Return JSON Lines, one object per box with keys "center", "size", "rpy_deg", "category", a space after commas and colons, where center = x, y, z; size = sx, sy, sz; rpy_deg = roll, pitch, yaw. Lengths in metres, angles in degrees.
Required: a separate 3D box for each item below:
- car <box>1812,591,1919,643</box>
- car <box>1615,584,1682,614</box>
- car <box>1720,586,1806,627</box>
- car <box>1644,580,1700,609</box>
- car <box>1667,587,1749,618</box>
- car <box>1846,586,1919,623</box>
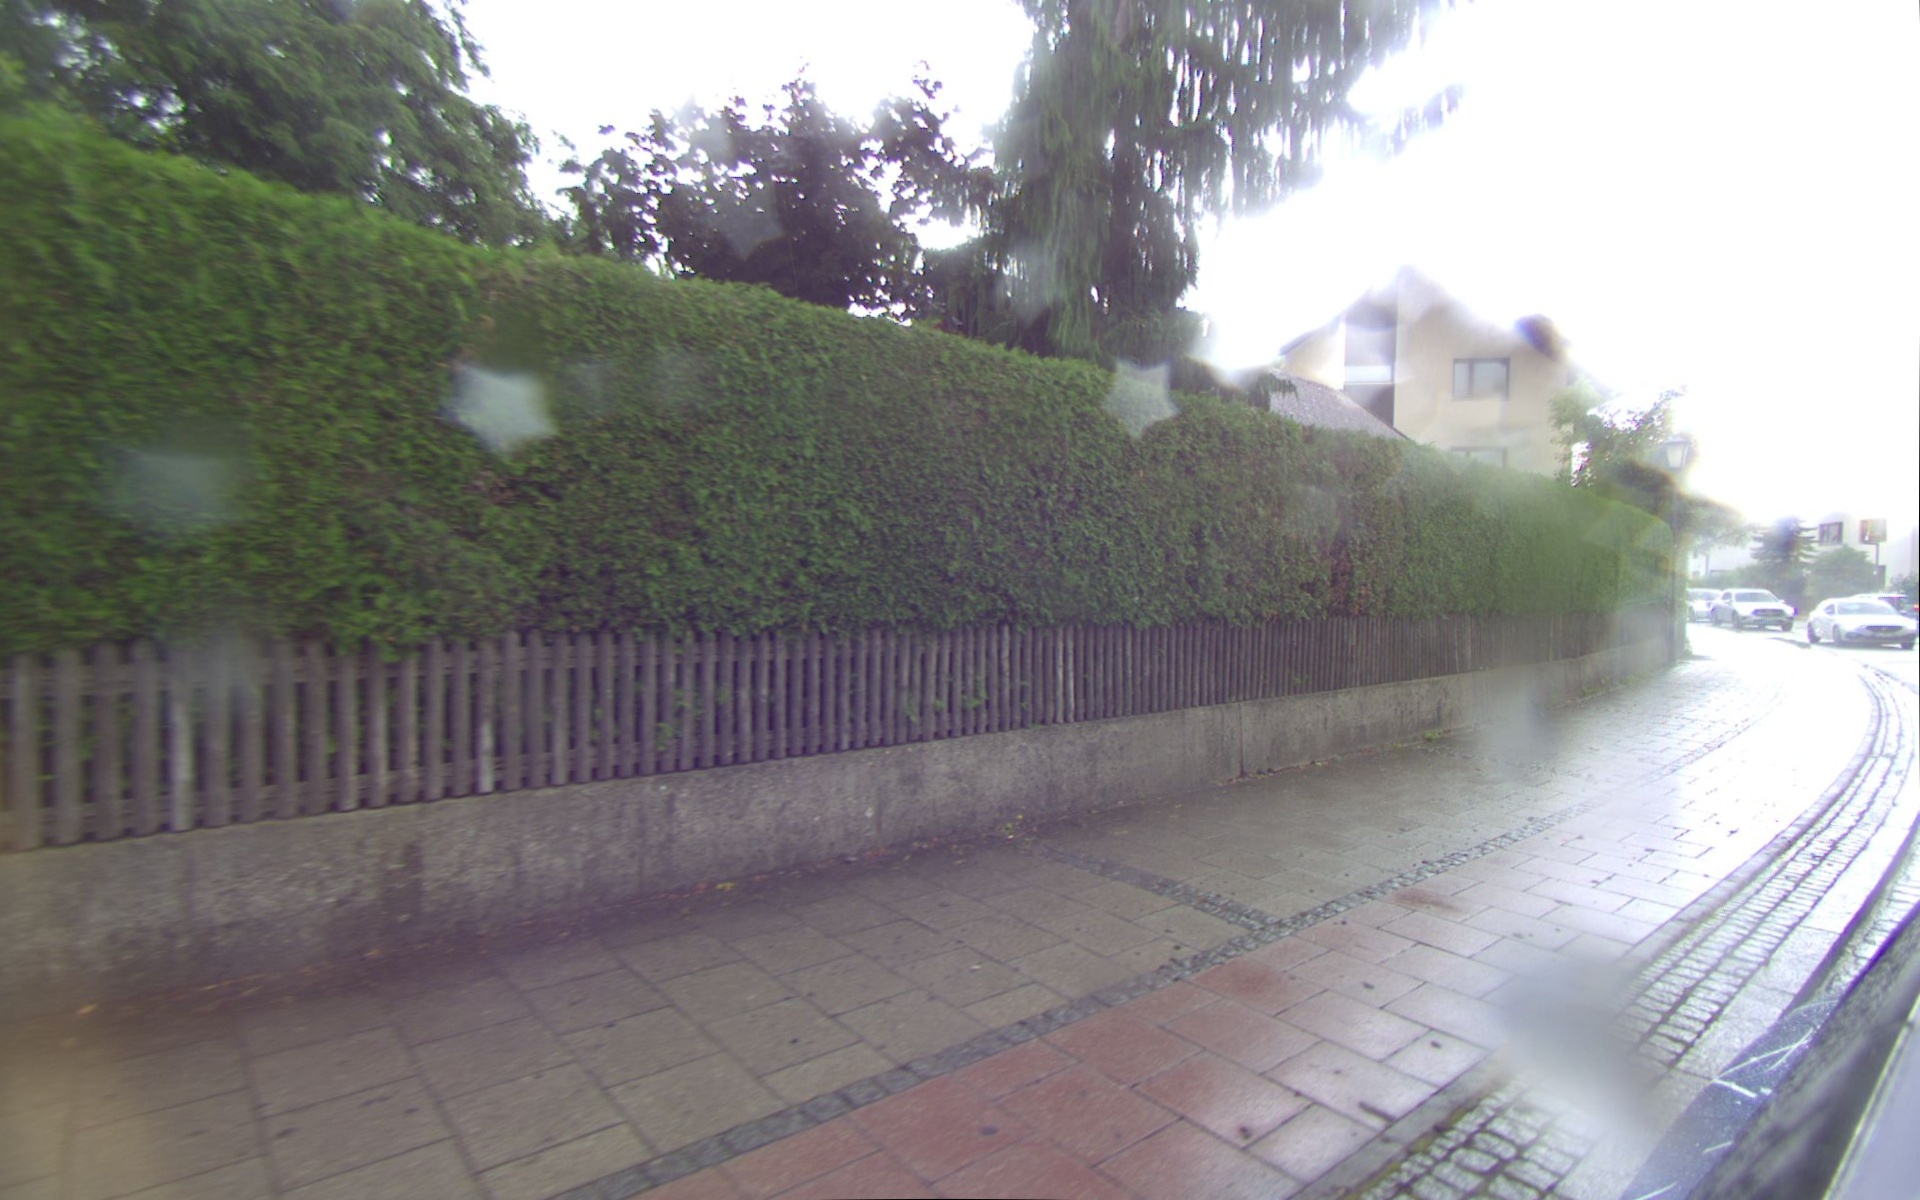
{"center": [27.632, 0.473, 30.700], "size": [1.778, 1.412, 4.241], "rpy_deg": [-1, 0, 27], "category": "car"}
{"center": [38.021, -0.064, 55.989], "size": [1.770, 1.568, 4.260], "rpy_deg": [-1, 0, 16], "category": "car"}
{"center": [33.136, 0.239, 41.868], "size": [1.776, 1.568, 4.245], "rpy_deg": [-1, 0, 25], "category": "car"}
{"center": [45.002, -0.364, 64.037], "size": [1.623, 1.787, 4.306], "rpy_deg": [-1, 0, 18], "category": "car"}
{"center": [36.313, 0.091, 49.252], "size": [1.770, 1.391, 4.260], "rpy_deg": [-1, 0, 16], "category": "car"}
{"center": [38.843, 0.148, 42.158], "size": [1.602, 1.462, 3.648], "rpy_deg": [0, 1, 19], "category": "car"}
